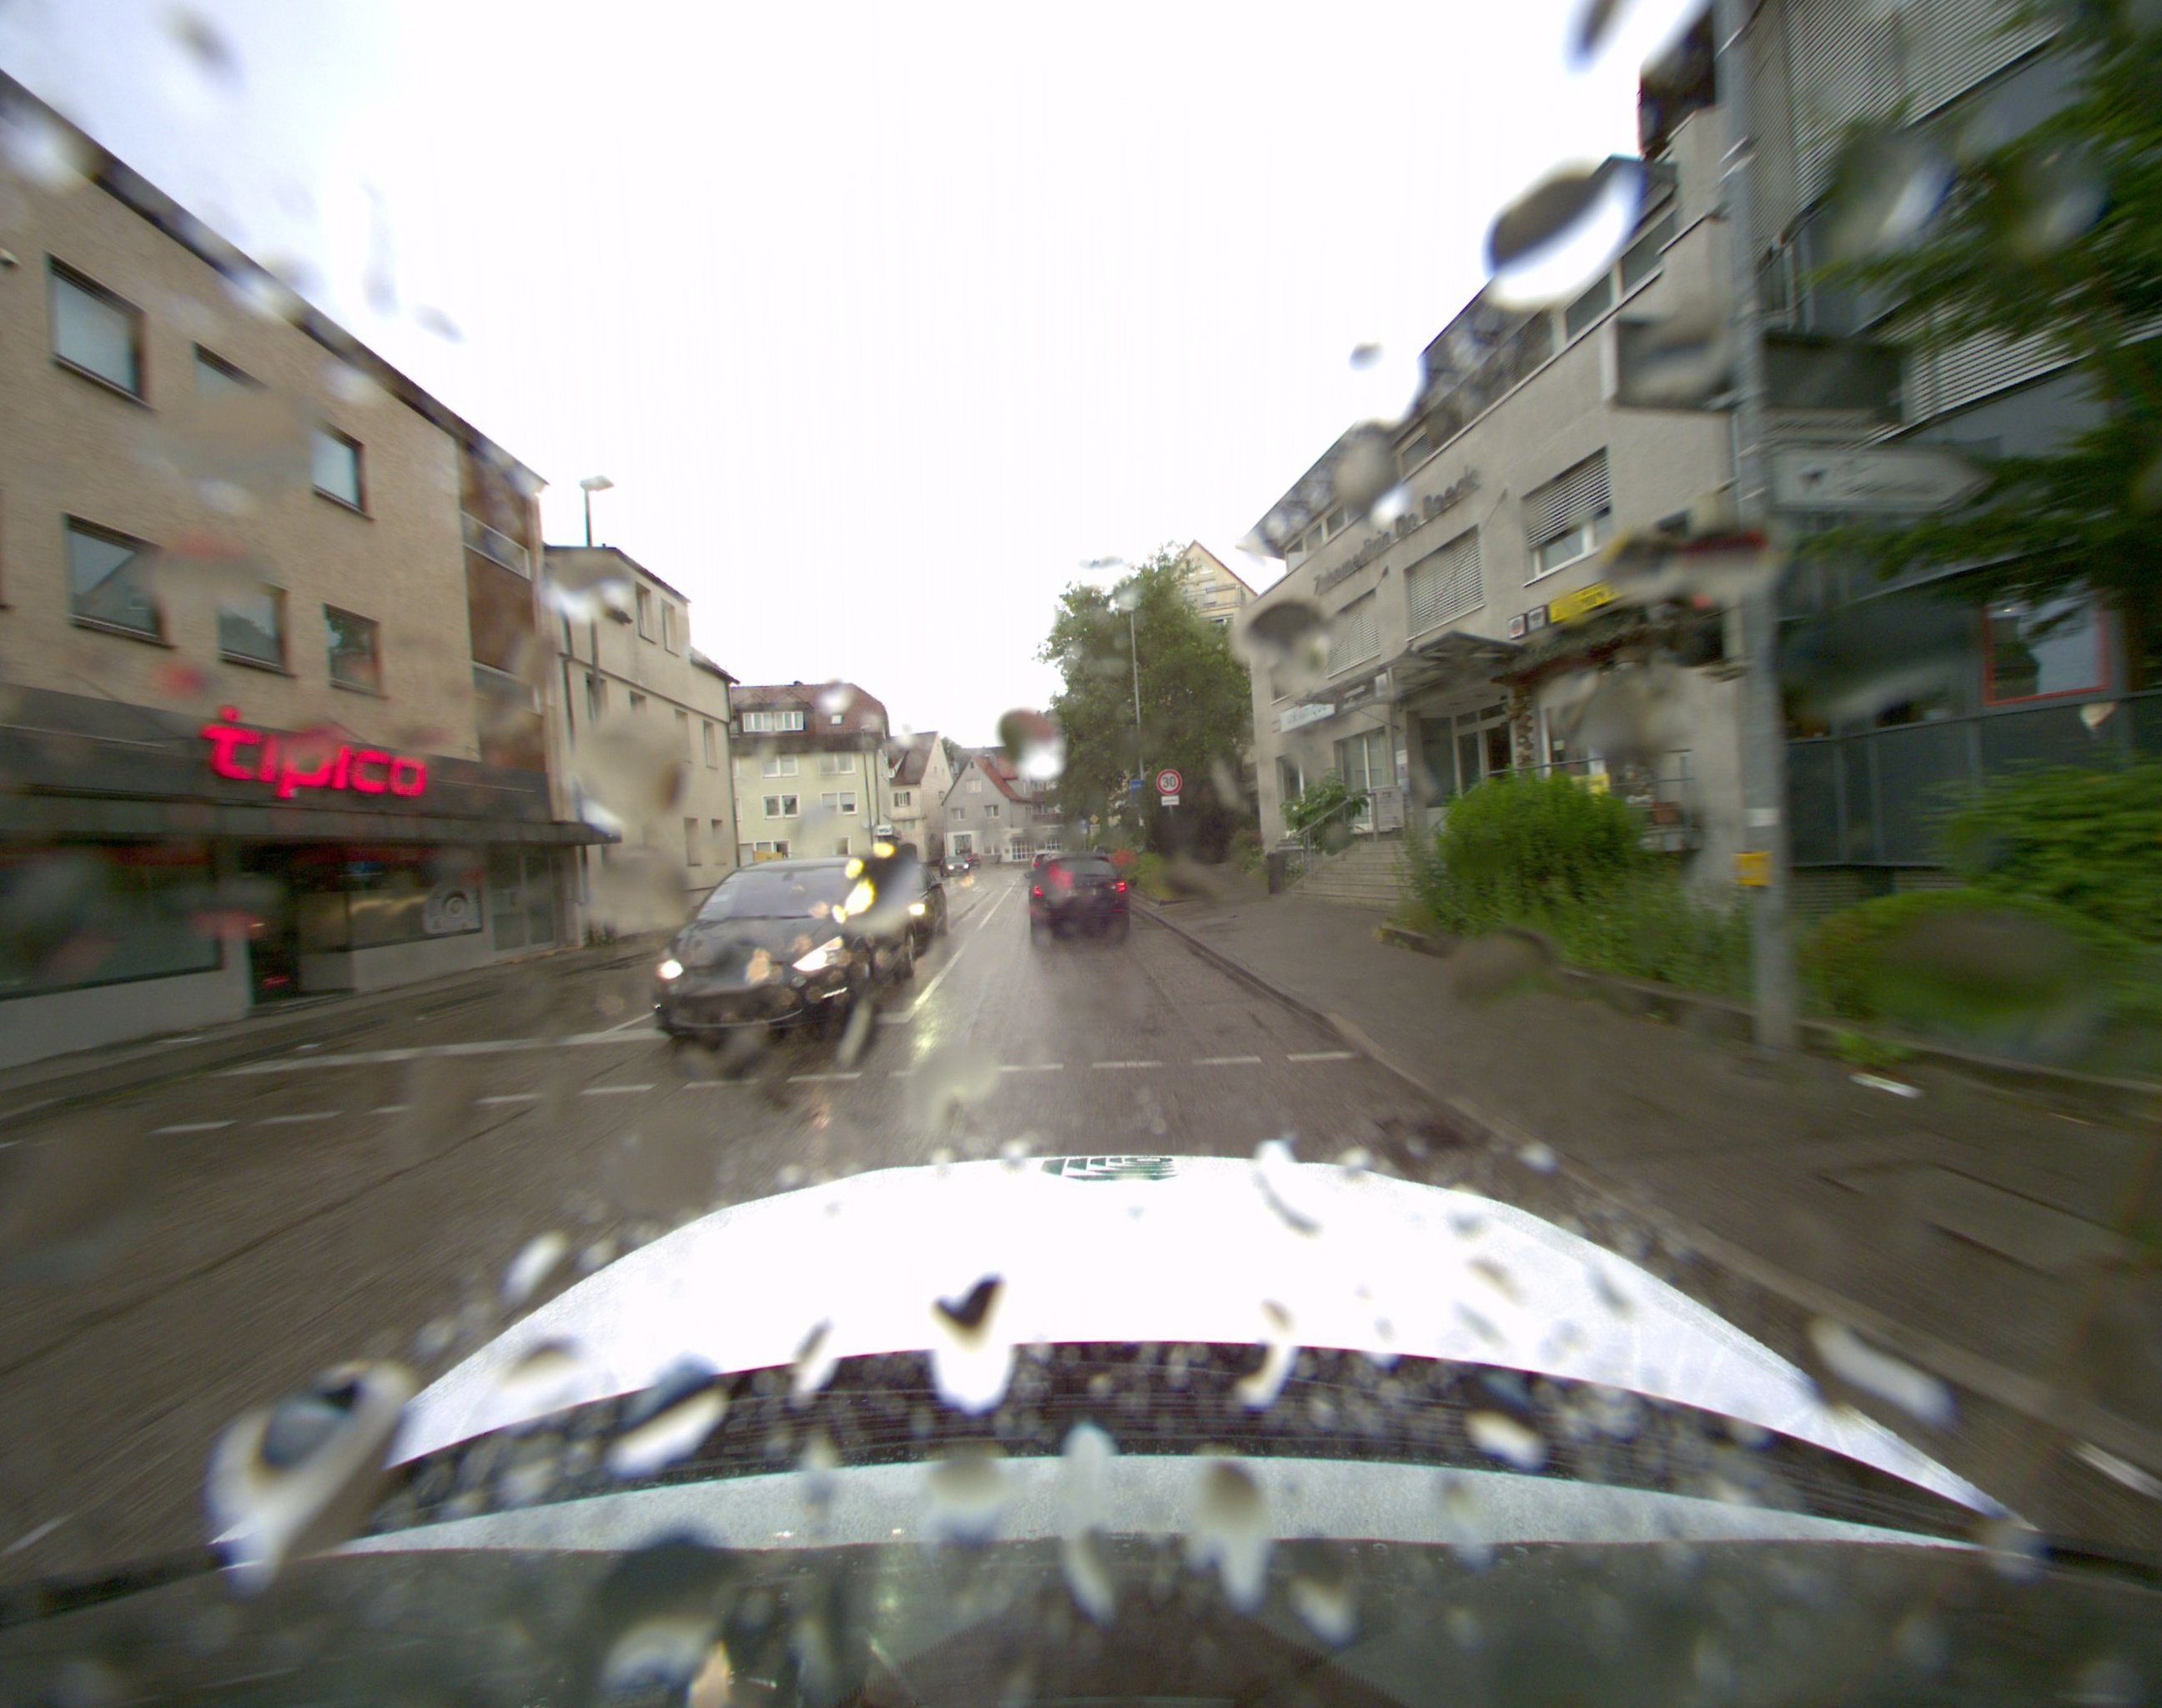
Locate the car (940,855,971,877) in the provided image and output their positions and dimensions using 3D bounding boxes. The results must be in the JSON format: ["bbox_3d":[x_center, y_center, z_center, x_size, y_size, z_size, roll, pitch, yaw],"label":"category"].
[{"bbox_3d":[-9.810,0.964,63.444,1.664,1.571,3.974,-4,-1,-19],"label":"car"}]

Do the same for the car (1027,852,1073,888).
[{"bbox_3d":[-1.326,0.685,35.607,1.813,1.359,3.987,-4,0,-1],"label":"car"}]

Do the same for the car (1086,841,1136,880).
[{"bbox_3d":[1.432,0.304,39.939,1.850,1.641,3.863,-5,0,-5],"label":"car"}]

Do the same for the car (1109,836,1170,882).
[{"bbox_3d":[2.372,0.202,34.020,1.850,1.641,3.531,-5,0,-6],"label":"car"}]

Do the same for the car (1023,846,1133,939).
[{"bbox_3d":[-0.078,0.652,15.819,1.777,1.483,4.244,-3,0,-1],"label":"car"}]

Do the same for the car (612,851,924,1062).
[{"bbox_3d":[-2.905,0.805,8.685,1.781,1.562,4.396,-3,0,-4],"label":"car"}]

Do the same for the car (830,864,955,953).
[{"bbox_3d":[-3.444,0.933,15.543,1.613,1.334,3.947,-3,0,-4],"label":"car"}]

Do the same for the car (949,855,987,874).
[{"bbox_3d":[-11.048,1.042,79.284,1.909,1.590,3.644,-4,-1,-40],"label":"car"}]

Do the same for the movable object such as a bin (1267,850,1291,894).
[{"bbox_3d":[4.581,0.410,18.807,0.507,0.945,0.605,-1,4,15],"label":"movable object such as a bin"}]

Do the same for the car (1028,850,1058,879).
[{"bbox_3d":[-2.390,0.722,52.280,1.723,1.591,4.181,-3,-3,-1],"label":"car"}]
